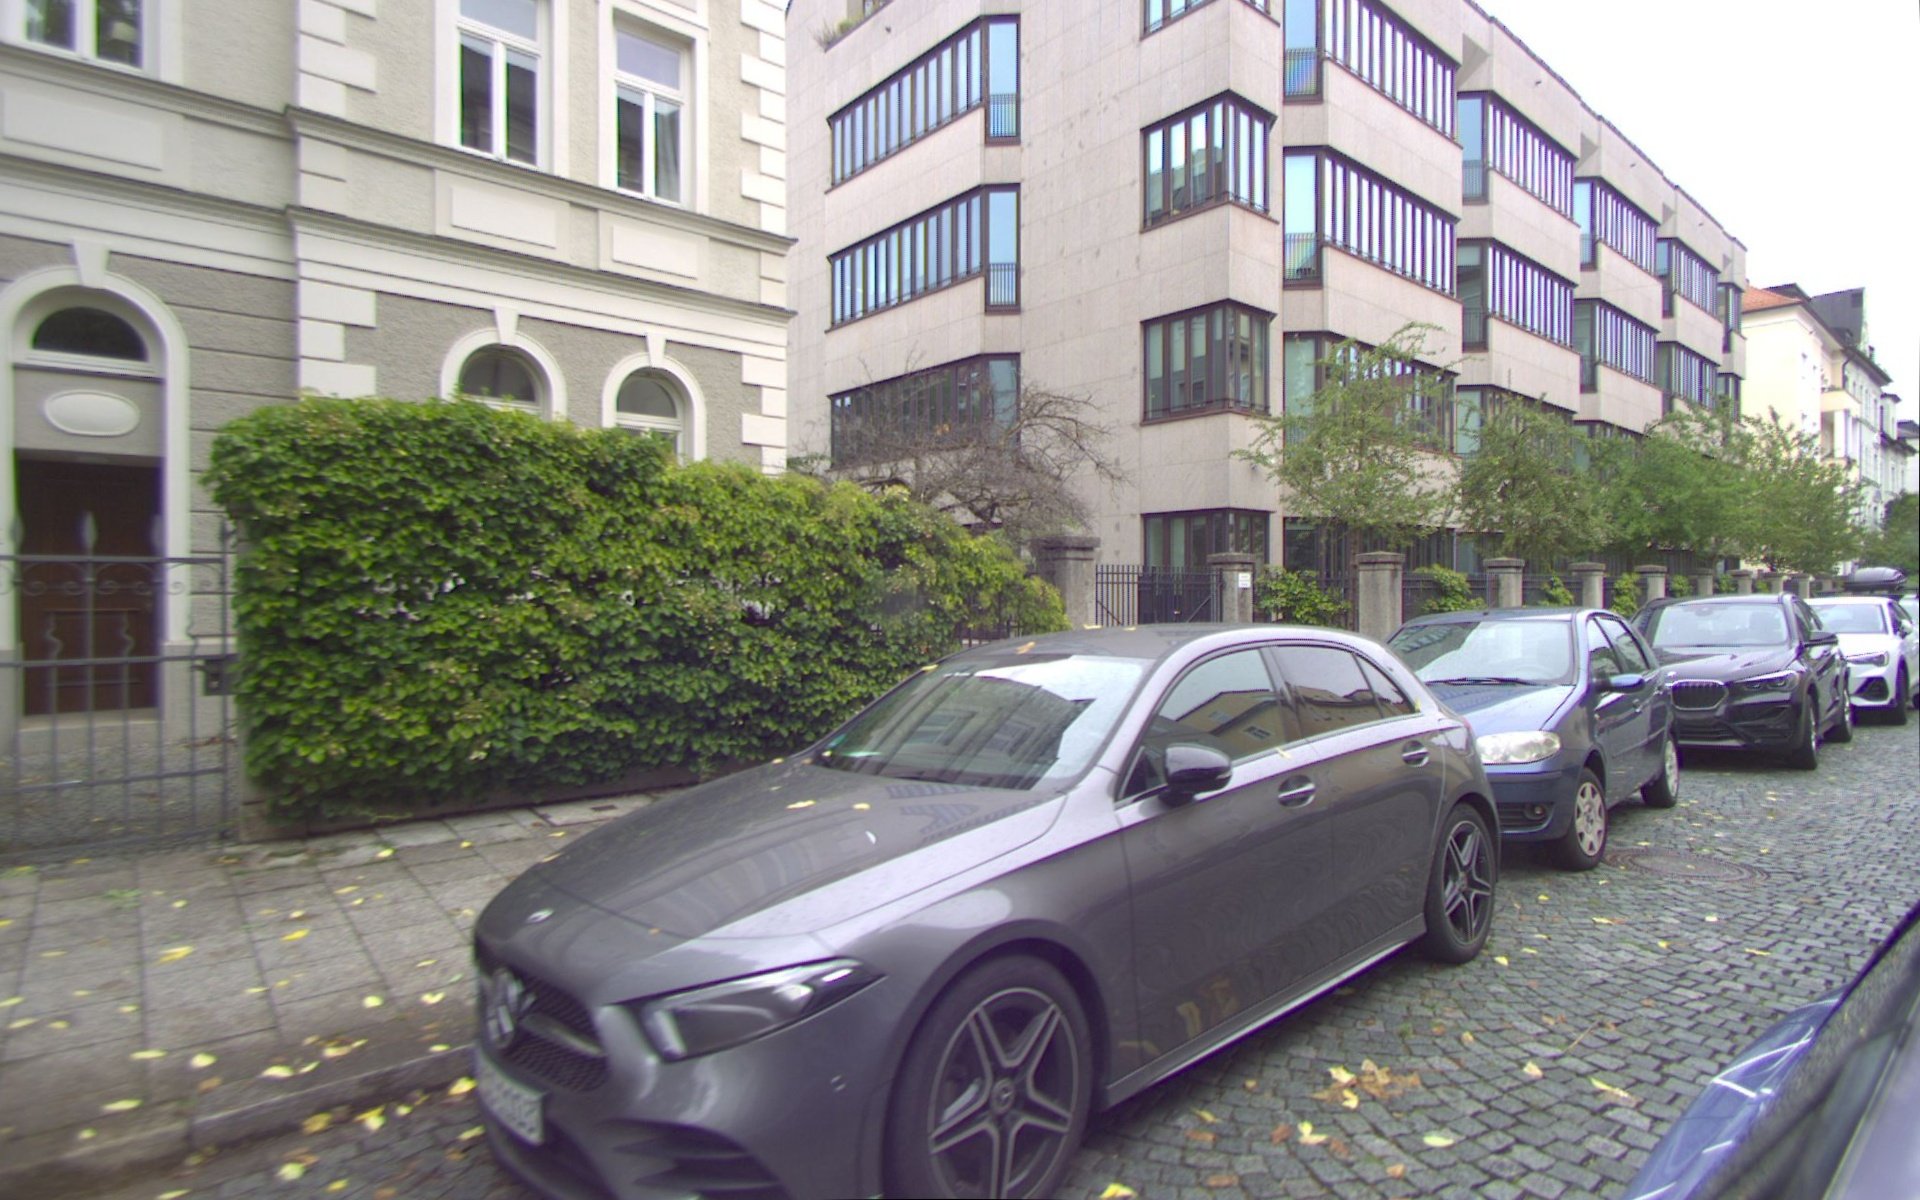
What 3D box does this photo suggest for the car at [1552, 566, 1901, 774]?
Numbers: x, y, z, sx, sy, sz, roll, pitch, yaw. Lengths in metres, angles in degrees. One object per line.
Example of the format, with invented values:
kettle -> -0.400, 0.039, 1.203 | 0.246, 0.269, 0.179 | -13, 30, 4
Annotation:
car -> 8.022, 0.584, 10.424 | 4.575, 1.691, 1.876 | 0, -2, -41

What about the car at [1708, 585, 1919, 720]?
car -> 11.833, 0.618, 13.487 | 4.533, 1.510, 1.877 | 0, -2, -39

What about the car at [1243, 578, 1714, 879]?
car -> 3.743, 0.646, 6.949 | 3.995, 1.459, 1.694 | 0, -2, -45

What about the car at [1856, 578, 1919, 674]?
car -> 19.623, 0.457, 20.149 | 4.804, 1.757, 1.877 | -1, -1, -39

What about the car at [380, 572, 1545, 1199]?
car -> 0.427, 0.718, 3.721 | 4.195, 1.491, 1.715 | 0, -2, -42

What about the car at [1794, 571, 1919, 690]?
car -> 15.567, 0.459, 16.886 | 4.667, 1.757, 1.874 | 0, -3, -43
